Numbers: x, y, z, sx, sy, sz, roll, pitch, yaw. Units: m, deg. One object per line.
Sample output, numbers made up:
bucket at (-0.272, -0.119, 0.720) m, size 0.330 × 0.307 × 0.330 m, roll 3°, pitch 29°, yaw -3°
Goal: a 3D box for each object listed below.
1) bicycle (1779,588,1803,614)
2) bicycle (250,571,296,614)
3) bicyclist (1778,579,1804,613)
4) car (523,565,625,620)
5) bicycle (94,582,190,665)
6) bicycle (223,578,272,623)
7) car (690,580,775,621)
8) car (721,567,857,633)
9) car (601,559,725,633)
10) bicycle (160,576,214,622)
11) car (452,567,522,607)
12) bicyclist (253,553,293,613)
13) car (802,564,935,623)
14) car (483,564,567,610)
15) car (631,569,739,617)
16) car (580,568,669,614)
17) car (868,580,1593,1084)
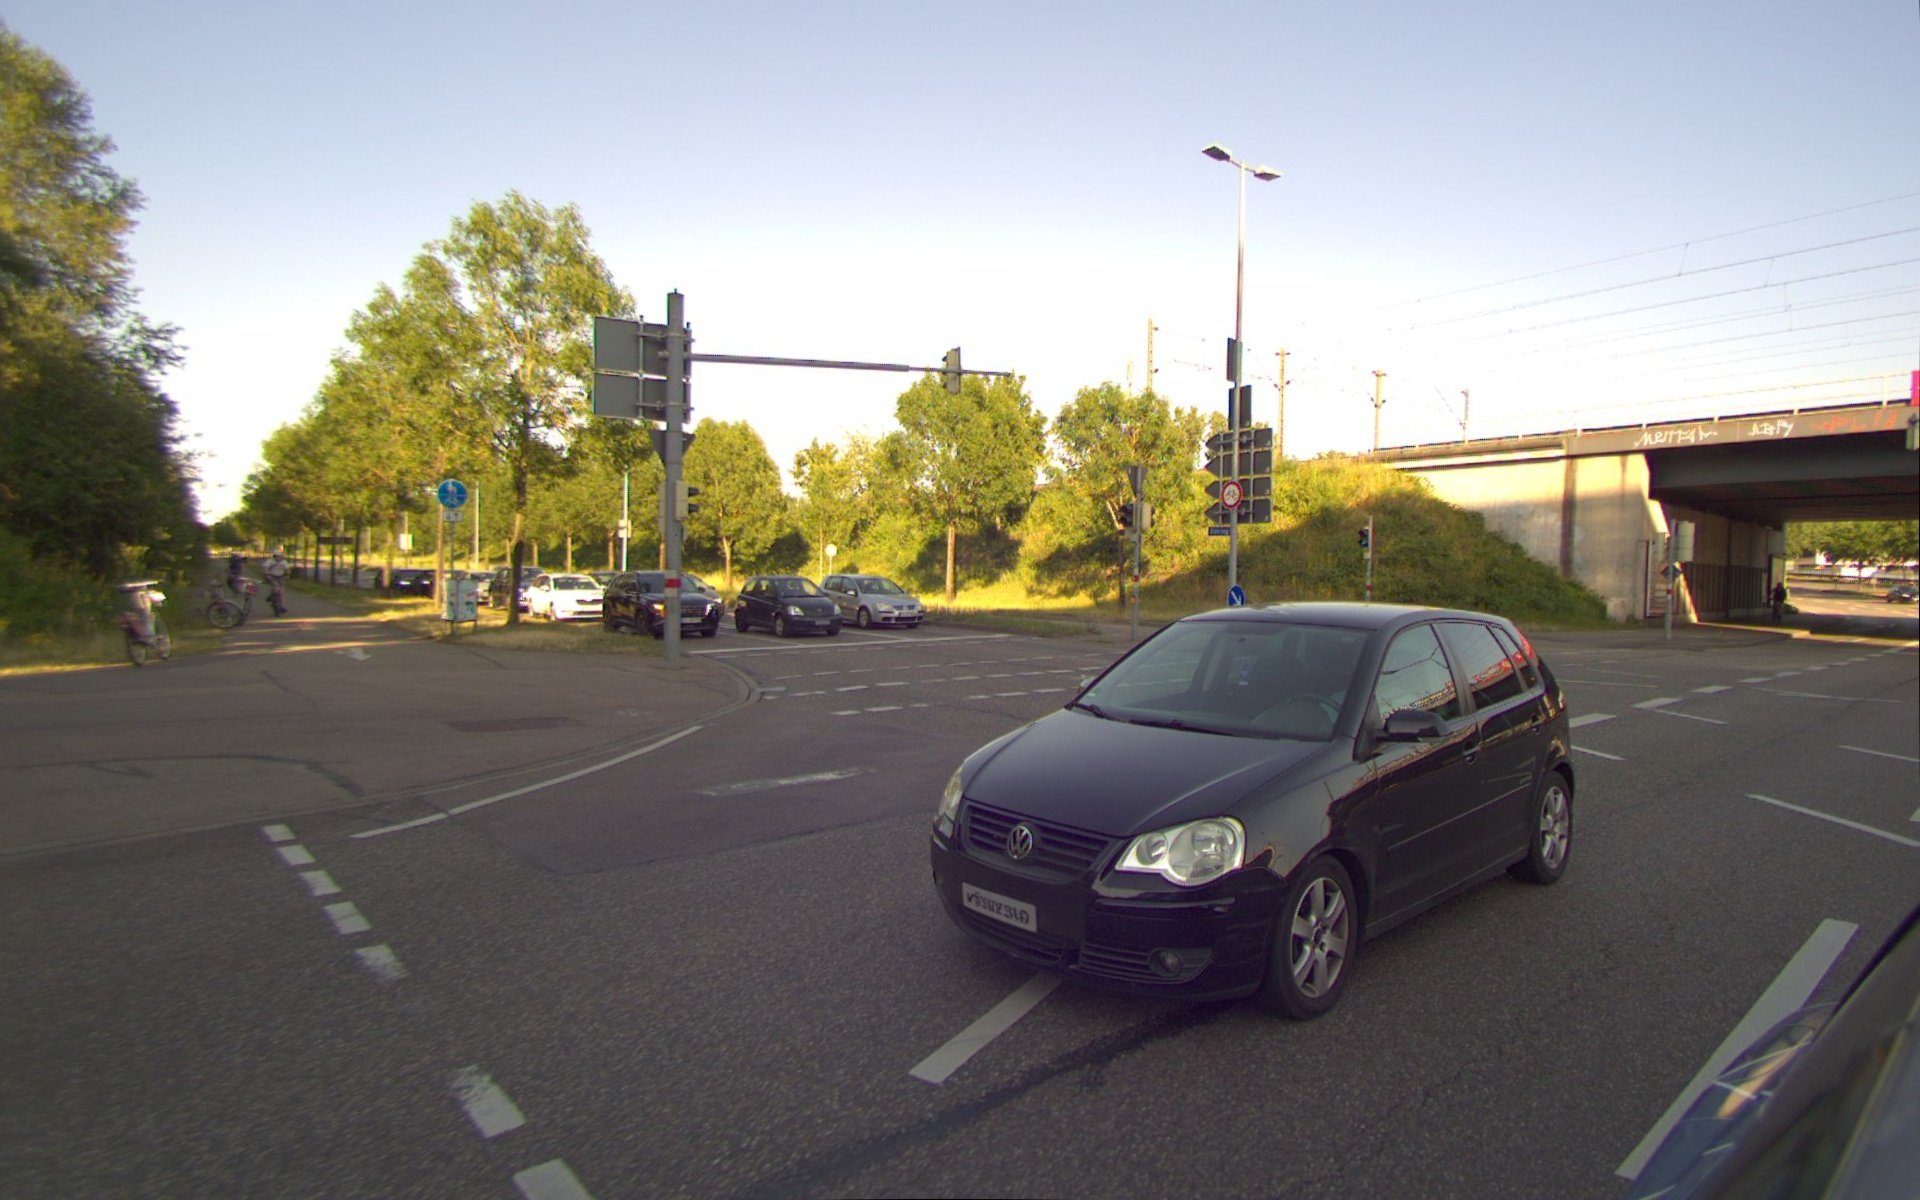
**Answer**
bicycle at (36.426, 0.036, 44.352) m, size 0.779 × 1.070 × 2.460 m, roll 0°, pitch 1°, yaw 41°
bicycle at (-18.735, -0.219, 27.589) m, size 0.807 × 1.126 × 2.016 m, roll -1°, pitch 1°, yaw -41°
bicyclist at (36.380, -0.188, 44.293) m, size 0.840 × 1.439 × 1.098 m, roll 0°, pitch 1°, yaw 41°
car at (-12.042, -0.264, 31.439) m, size 2.002 × 1.587 × 4.343 m, roll -1°, pitch 1°, yaw -34°
bicycle at (-11.164, 0.292, 13.867) m, size 0.566 × 1.003 × 1.671 m, roll 3°, pitch 1°, yaw -24°
bicycle at (-16.257, -0.001, 23.113) m, size 0.626 × 0.993 × 1.801 m, roll 1°, pitch 0°, yaw -26°
car at (-9.595, -0.008, 42.416) m, size 2.002 × 1.587 × 4.343 m, roll -1°, pitch 1°, yaw -34°
car at (-4.496, -0.053, 26.149) m, size 1.962 × 1.549 × 4.001 m, roll -1°, pitch 1°, yaw -34°
car at (-7.514, -0.138, 25.356) m, size 1.827 × 1.715 × 4.001 m, roll -1°, pitch 1°, yaw -34°
bicycle at (-17.436, -0.043, 22.864) m, size 0.626 × 0.992 × 1.801 m, roll -1°, pitch 1°, yaw -26°
car at (-20.041, -0.577, 42.774) m, size 2.002 × 1.587 × 4.343 m, roll -1°, pitch 1°, yaw -34°
bicyclist at (-18.728, -0.464, 27.595) m, size 0.779 × 1.614 × 0.858 m, roll -1°, pitch 1°, yaw -41°
car at (-2.651, -0.211, 28.704) m, size 1.857 × 1.549 × 3.996 m, roll -1°, pitch 1°, yaw -39°
car at (-15.888, -0.486, 36.873) m, size 2.002 × 1.587 × 4.343 m, roll -1°, pitch 1°, yaw -34°
car at (-8.823, -0.255, 32.189) m, size 2.002 × 1.425 × 4.343 m, roll -1°, pitch 1°, yaw -34°
car at (-12.471, -0.352, 37.420) m, size 2.002 × 1.587 × 4.343 m, roll -1°, pitch 1°, yaw -34°
car at (1.500, 0.641, 4.764) m, size 3.621 × 1.427 × 1.618 m, roll -2°, pitch 2°, yaw -43°
